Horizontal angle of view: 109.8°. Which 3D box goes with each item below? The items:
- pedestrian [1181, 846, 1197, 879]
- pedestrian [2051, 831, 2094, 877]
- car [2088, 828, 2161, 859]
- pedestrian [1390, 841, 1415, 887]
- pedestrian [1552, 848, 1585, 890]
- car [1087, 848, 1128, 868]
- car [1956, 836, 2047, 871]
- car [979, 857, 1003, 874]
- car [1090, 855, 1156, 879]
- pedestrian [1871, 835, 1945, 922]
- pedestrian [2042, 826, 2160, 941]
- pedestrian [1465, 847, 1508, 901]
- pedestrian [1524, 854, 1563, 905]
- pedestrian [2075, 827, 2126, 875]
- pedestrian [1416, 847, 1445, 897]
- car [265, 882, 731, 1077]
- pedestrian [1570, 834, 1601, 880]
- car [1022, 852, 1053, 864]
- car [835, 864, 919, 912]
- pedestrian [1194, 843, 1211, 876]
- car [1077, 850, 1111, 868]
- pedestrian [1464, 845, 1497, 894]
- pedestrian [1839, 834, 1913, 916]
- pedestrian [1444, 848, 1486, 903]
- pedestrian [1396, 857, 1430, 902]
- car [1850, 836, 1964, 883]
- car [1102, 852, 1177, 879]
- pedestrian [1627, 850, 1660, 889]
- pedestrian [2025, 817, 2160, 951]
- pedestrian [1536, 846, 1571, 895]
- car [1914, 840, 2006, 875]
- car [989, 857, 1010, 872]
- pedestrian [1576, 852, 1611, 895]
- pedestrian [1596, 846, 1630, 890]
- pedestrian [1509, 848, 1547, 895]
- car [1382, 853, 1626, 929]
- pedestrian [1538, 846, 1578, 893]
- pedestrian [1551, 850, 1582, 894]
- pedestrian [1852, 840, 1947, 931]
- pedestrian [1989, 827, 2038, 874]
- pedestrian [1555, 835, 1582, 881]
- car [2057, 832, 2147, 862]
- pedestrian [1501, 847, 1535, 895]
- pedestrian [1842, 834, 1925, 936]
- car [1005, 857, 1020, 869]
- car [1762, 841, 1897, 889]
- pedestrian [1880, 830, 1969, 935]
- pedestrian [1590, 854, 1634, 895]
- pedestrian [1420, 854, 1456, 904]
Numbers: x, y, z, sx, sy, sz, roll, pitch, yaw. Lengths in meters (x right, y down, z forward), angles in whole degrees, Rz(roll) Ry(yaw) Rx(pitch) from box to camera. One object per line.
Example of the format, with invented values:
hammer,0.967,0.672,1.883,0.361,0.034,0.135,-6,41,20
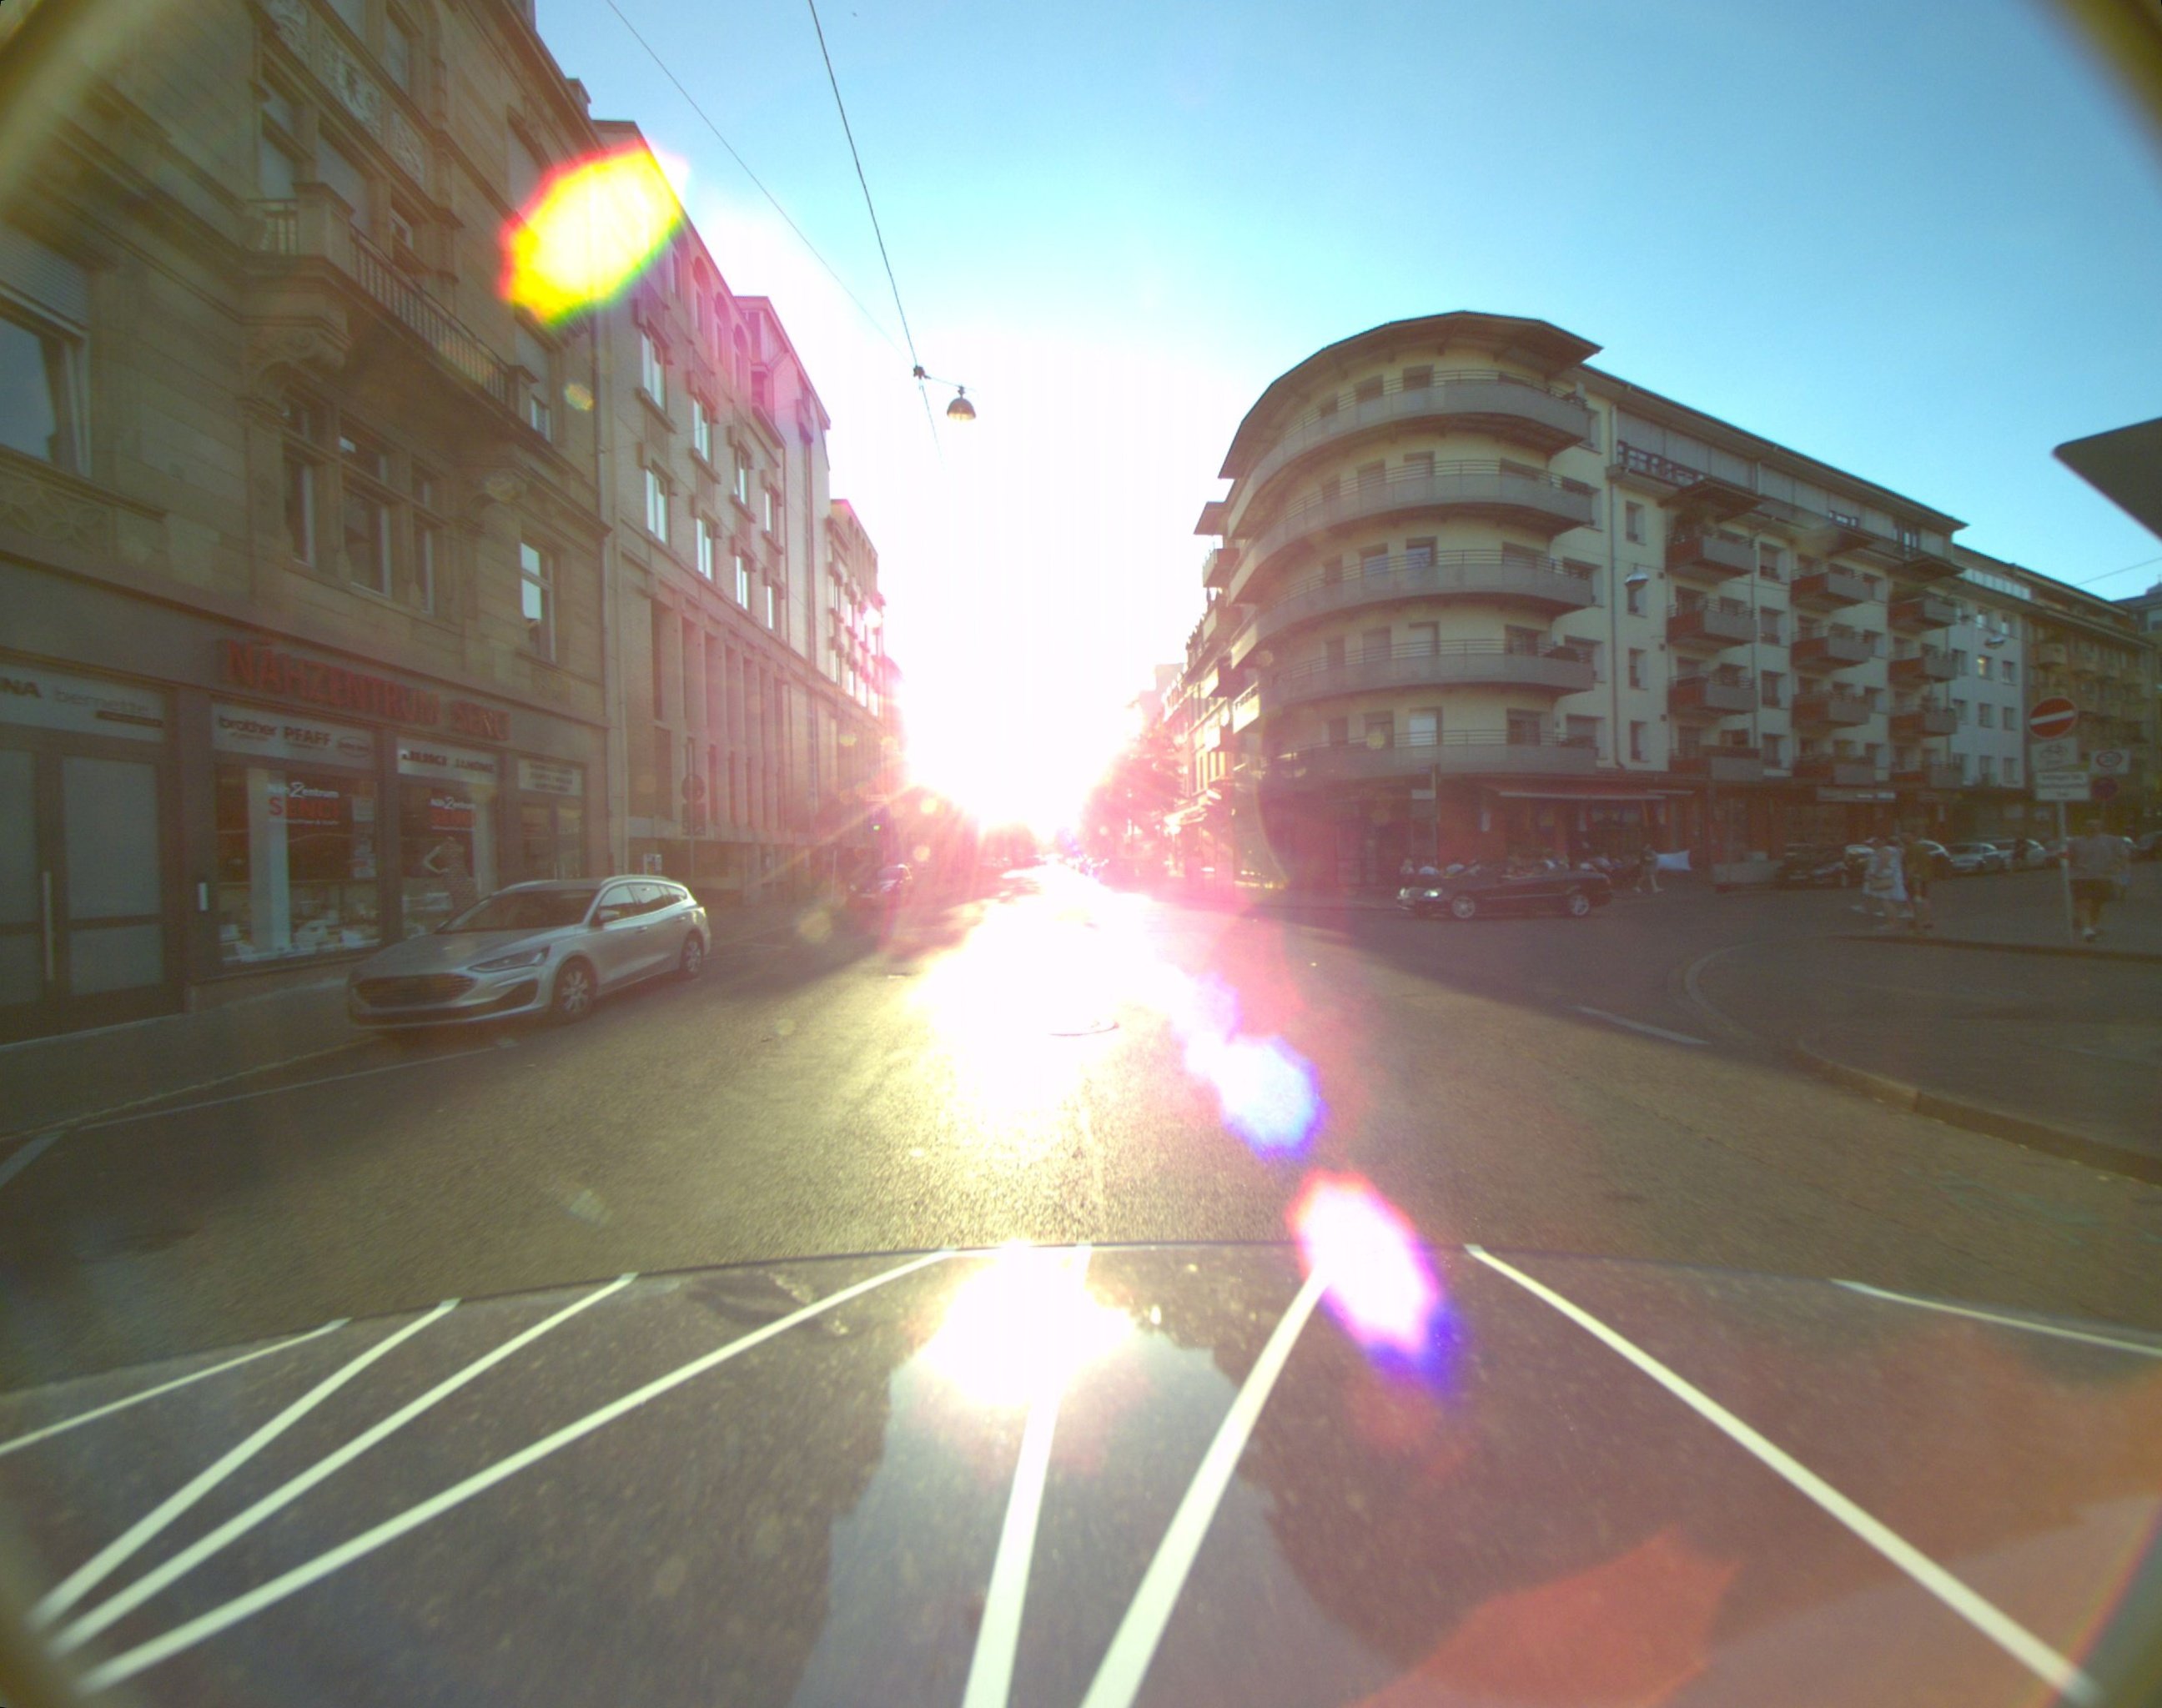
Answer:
pedestrian,6.478,0.513,45.531,0.730,1.937,0.740,-2,1,-8
pedestrian,38.203,0.005,29.285,0.704,1.716,0.918,-2,0,-31
car,59.502,-0.588,42.942,4.371,1.606,1.997,-1,-1,-22
pedestrian,12.682,0.381,29.935,0.618,1.766,0.611,-2,0,-28
pedestrian,16.829,0.509,26.244,0.603,1.413,0.713,-2,-1,-27
car,2.775,0.393,79.894,3.999,2.002,1.999,-2,0,-5
car,43.208,-0.020,35.650,3.952,1.468,1.765,-1,-1,-25
car,-8.734,1.113,74.172,1.999,1.543,3.999,-2,0,-3
car,2.728,0.844,49.960,3.999,1.412,1.999,-2,0,-6
pedestrian,17.460,0.508,16.051,0.737,1.783,0.811,-2,-1,-24
pedestrian,16.523,0.468,12.352,0.892,1.783,0.982,-1,-1,-45
pedestrian,12.033,0.578,22.553,0.854,1.528,0.712,-2,5,-25
pedestrian,14.574,0.789,23.927,0.761,1.528,0.712,-2,4,-30
pedestrian,38.143,-0.112,28.431,0.921,1.716,0.833,-2,0,-13
pedestrian,10.921,0.564,23.743,0.713,1.527,0.855,-2,-1,29
car,-6.089,1.159,8.890,1.999,1.526,4.681,-2,-1,-3
pedestrian,19.355,0.121,29.172,0.669,1.710,0.717,-2,0,-27
car,-7.168,0.672,125.973,4.837,2.002,2.004,-1,0,34
car,-7.166,1.150,27.099,1.999,1.511,4.000,-1,0,-1
pedestrian,7.261,0.345,45.405,0.730,1.937,0.804,-2,1,-8
car,1.612,0.605,93.850,3.999,2.002,1.999,-2,0,-5
pedestrian,12.680,0.489,24.129,0.647,1.527,0.753,-2,-1,7
pedestrian,17.924,0.457,17.139,0.870,1.783,0.850,-2,-1,-24
pedestrian,11.306,0.631,22.368,0.689,1.527,0.714,-6,2,-9
pedestrian,9.872,0.747,22.582,0.684,1.274,0.970,-1,3,39
car,32.642,0.206,30.026,4.143,1.689,1.881,-1,-1,-26
car,3.601,0.677,47.573,4.443,1.532,1.817,-2,0,-4
pedestrian,19.539,0.530,26.410,0.850,1.271,0.716,0,4,42
pedestrian,14.977,0.423,11.269,0.891,1.872,0.983,-2,-1,-24
pedestrian,15.185,0.516,24.416,0.701,1.519,0.649,-2,4,-30
car,38.412,0.147,33.190,3.973,1.395,1.750,-1,-1,-28
car,-8.756,1.086,81.641,1.999,1.543,3.999,-2,0,-3
pedestrian,16.724,0.623,24.790,0.750,1.337,0.653,-2,3,-29
pedestrian,18.892,0.503,26.993,0.851,1.527,0.716,-2,-1,42
pedestrian,14.833,0.568,25.207,0.784,1.495,0.768,-2,1,-28
car,9.422,0.782,17.083,4.616,1.400,1.809,-2,2,-7
pedestrian,15.741,0.515,25.102,0.681,1.527,0.851,-2,-1,-29
pedestrian,16.279,0.592,25.499,0.562,1.426,0.666,-2,2,-29
pedestrian,15.670,0.602,14.573,0.714,1.658,0.883,-4,-2,-1
pedestrian,37.419,-0.125,30.513,1.005,1.816,0.948,-2,-1,37
pedestrian,18.307,0.149,28.544,0.618,1.728,0.611,-2,0,-27
car,54.345,-0.361,40.442,4.306,1.468,1.895,-1,-1,-24
pedestrian,14.256,0.541,24.797,0.655,1.527,0.674,-2,3,-28
pedestrian,14.759,0.558,13.982,0.883,1.792,0.713,-2,-1,-21
car,-8.945,1.129,98.849,1.756,1.543,4.285,-2,0,-3
car,27.111,0.390,27.505,4.636,1.542,1.877,-1,-1,-24
pedestrian,15.520,0.518,13.993,0.852,1.865,0.714,-2,-1,-12
pedestrian,17.700,0.655,25.338,0.853,1.298,0.877,-2,2,-6
pedestrian,10.290,0.703,21.897,0.768,1.374,0.841,0,2,38
